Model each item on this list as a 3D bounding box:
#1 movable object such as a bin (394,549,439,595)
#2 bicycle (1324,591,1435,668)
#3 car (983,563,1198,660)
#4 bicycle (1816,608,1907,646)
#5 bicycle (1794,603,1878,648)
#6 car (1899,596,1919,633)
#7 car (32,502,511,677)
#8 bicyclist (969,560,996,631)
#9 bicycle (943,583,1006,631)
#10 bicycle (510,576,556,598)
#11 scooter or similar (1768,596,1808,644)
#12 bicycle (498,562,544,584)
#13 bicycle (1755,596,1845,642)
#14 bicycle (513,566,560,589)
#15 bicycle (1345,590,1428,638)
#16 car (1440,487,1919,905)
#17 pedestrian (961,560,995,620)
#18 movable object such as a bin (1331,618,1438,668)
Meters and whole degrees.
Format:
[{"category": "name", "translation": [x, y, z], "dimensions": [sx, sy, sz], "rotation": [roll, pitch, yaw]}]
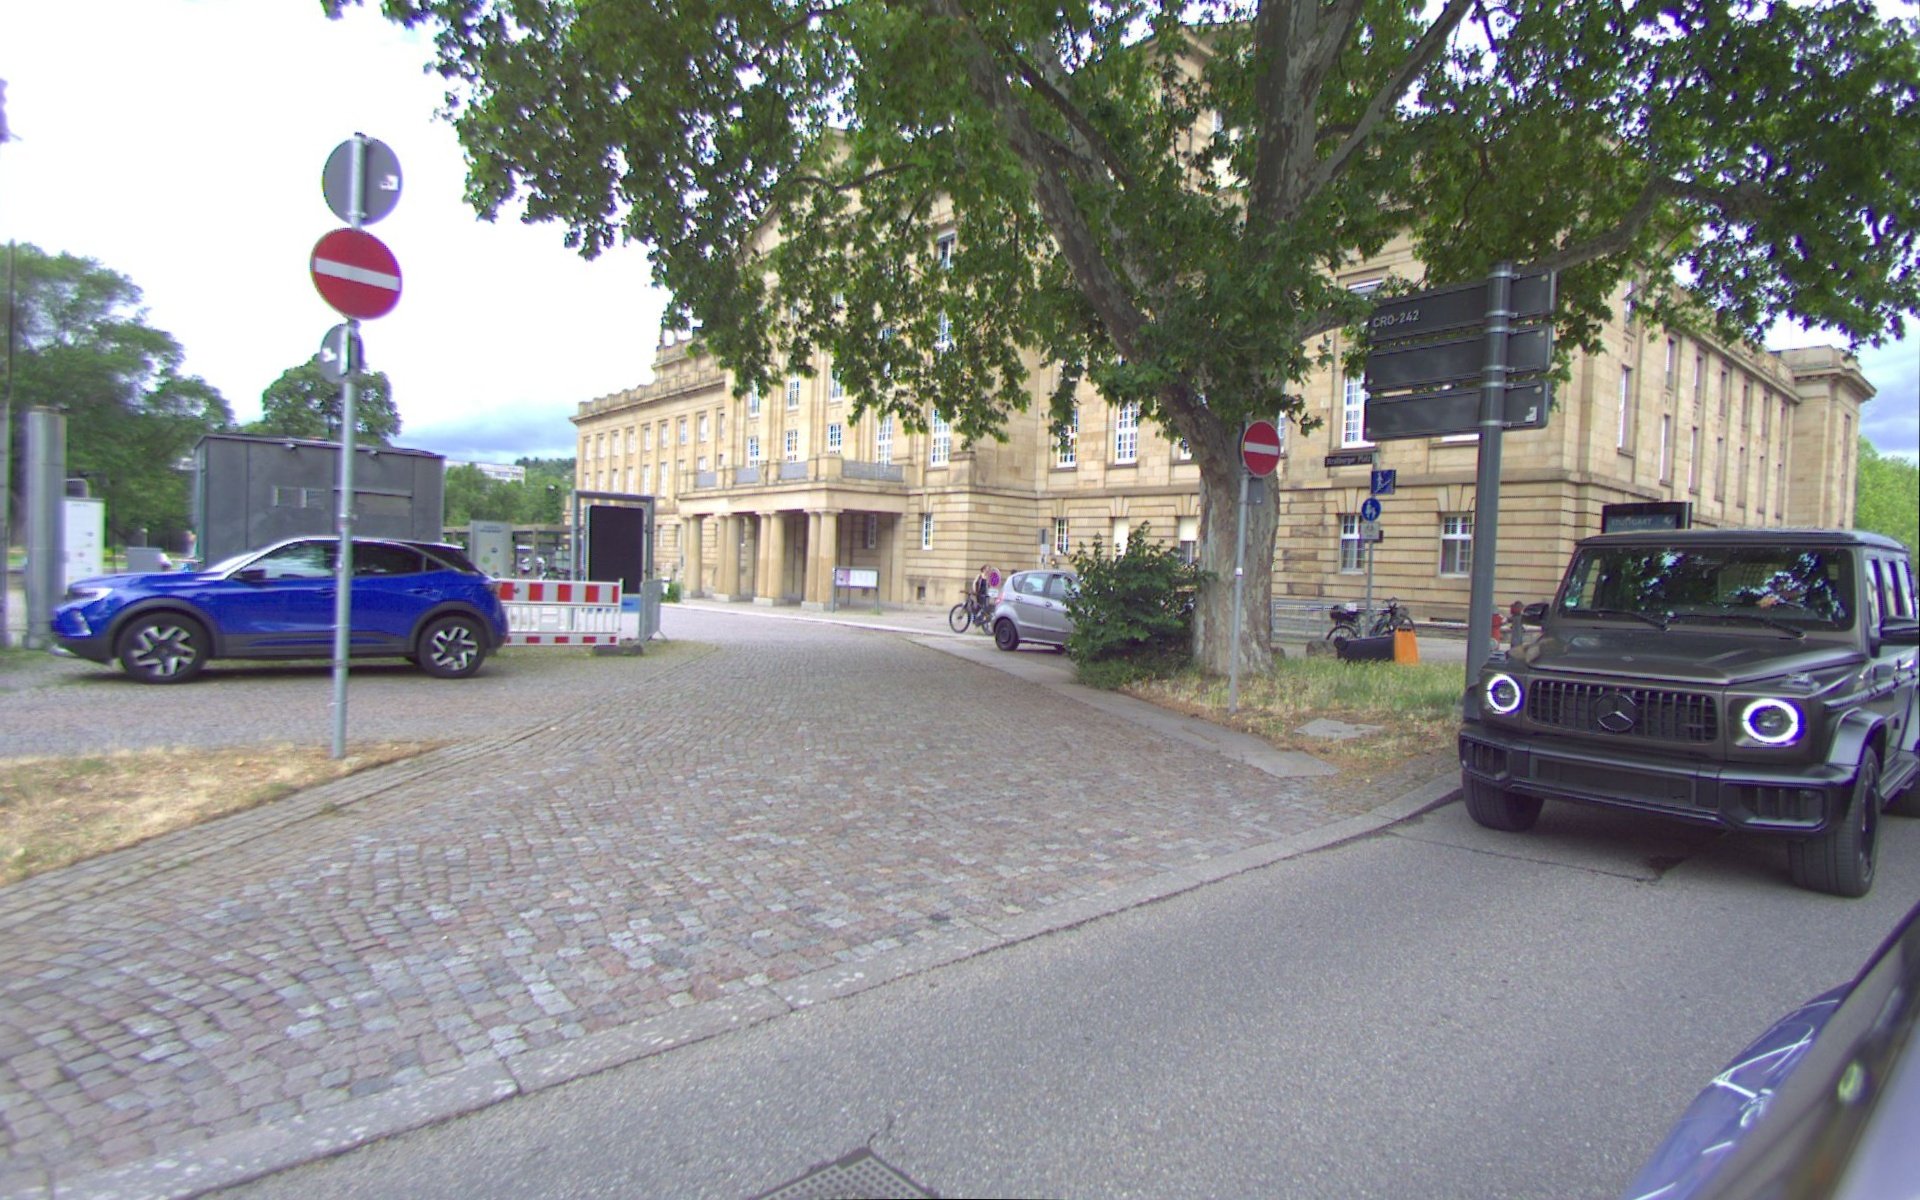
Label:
[{"category": "movable object such as a bin", "translation": [-18.557, -0.966, 34.536], "dimensions": [1.132, 1.515, 1.413], "rotation": [1, 2, -38]}, {"category": "bicycle", "translation": [7.389, 0.490, 17.894], "dimensions": [0.483, 1.236, 1.790], "rotation": [1, 1, -37]}, {"category": "car", "translation": [2.327, 0.140, 18.802], "dimensions": [1.649, 1.588, 3.844], "rotation": [0, 2, -40]}, {"category": "bicycle", "translation": [24.684, 0.719, 27.744], "dimensions": [0.601, 0.928, 1.738], "rotation": [1, 2, -22]}, {"category": "bicycle", "translation": [23.386, 0.668, 27.037], "dimensions": [1.597, 1.144, 0.466], "rotation": [1, 0, 24]}, {"category": "car", "translation": [41.093, 0.611, 42.769], "dimensions": [3.791, 1.473, 1.619], "rotation": [0, 3, -42]}, {"category": "car", "translation": [-7.218, -0.049, 10.949], "dimensions": [3.952, 1.571, 1.765], "rotation": [3, 0, -38]}, {"category": "bicyclist", "translation": [0.566, -0.114, 25.430], "dimensions": [0.436, 1.770, 0.468], "rotation": [3, 1, 42]}, {"category": "bicycle", "translation": [0.352, 0.155, 25.836], "dimensions": [1.749, 1.145, 0.437], "rotation": [3, 2, 42]}, {"category": "bicycle", "translation": [-26.303, -0.802, 62.365], "dimensions": [2.533, 1.362, 0.726], "rotation": [0, 0, -41]}, {"category": "scooter or similar", "translation": [23.027, 0.554, 28.147], "dimensions": [1.126, 1.294, 0.564], "rotation": [1, 0, -35]}, {"category": "bicycle", "translation": [-27.505, -1.678, 63.398], "dimensions": [2.533, 1.362, 0.726], "rotation": [0, 0, -41]}, {"category": "bicycle", "translation": [21.402, 0.475, 25.815], "dimensions": [0.417, 1.105, 1.736], "rotation": [1, 0, -27]}, {"category": "bicycle", "translation": [-25.748, -1.349, 61.555], "dimensions": [2.533, 1.362, 0.726], "rotation": [0, 0, -41]}, {"category": "bicycle", "translation": [11.036, 0.349, 26.269], "dimensions": [0.382, 1.139, 2.015], "rotation": [0, 2, -40]}, {"category": "car", "translation": [5.230, 0.415, 6.870], "dimensions": [4.322, 1.949, 1.951], "rotation": [0, 2, -41]}, {"category": "pedestrian", "translation": [0.521, -0.292, 29.989], "dimensions": [0.692, 1.743, 0.680], "rotation": [1, 1, -42]}, {"category": "movable object such as a bin", "translation": [6.349, 0.627, 15.181], "dimensions": [0.714, 0.660, 1.304], "rotation": [-1, 1, -31]}]
